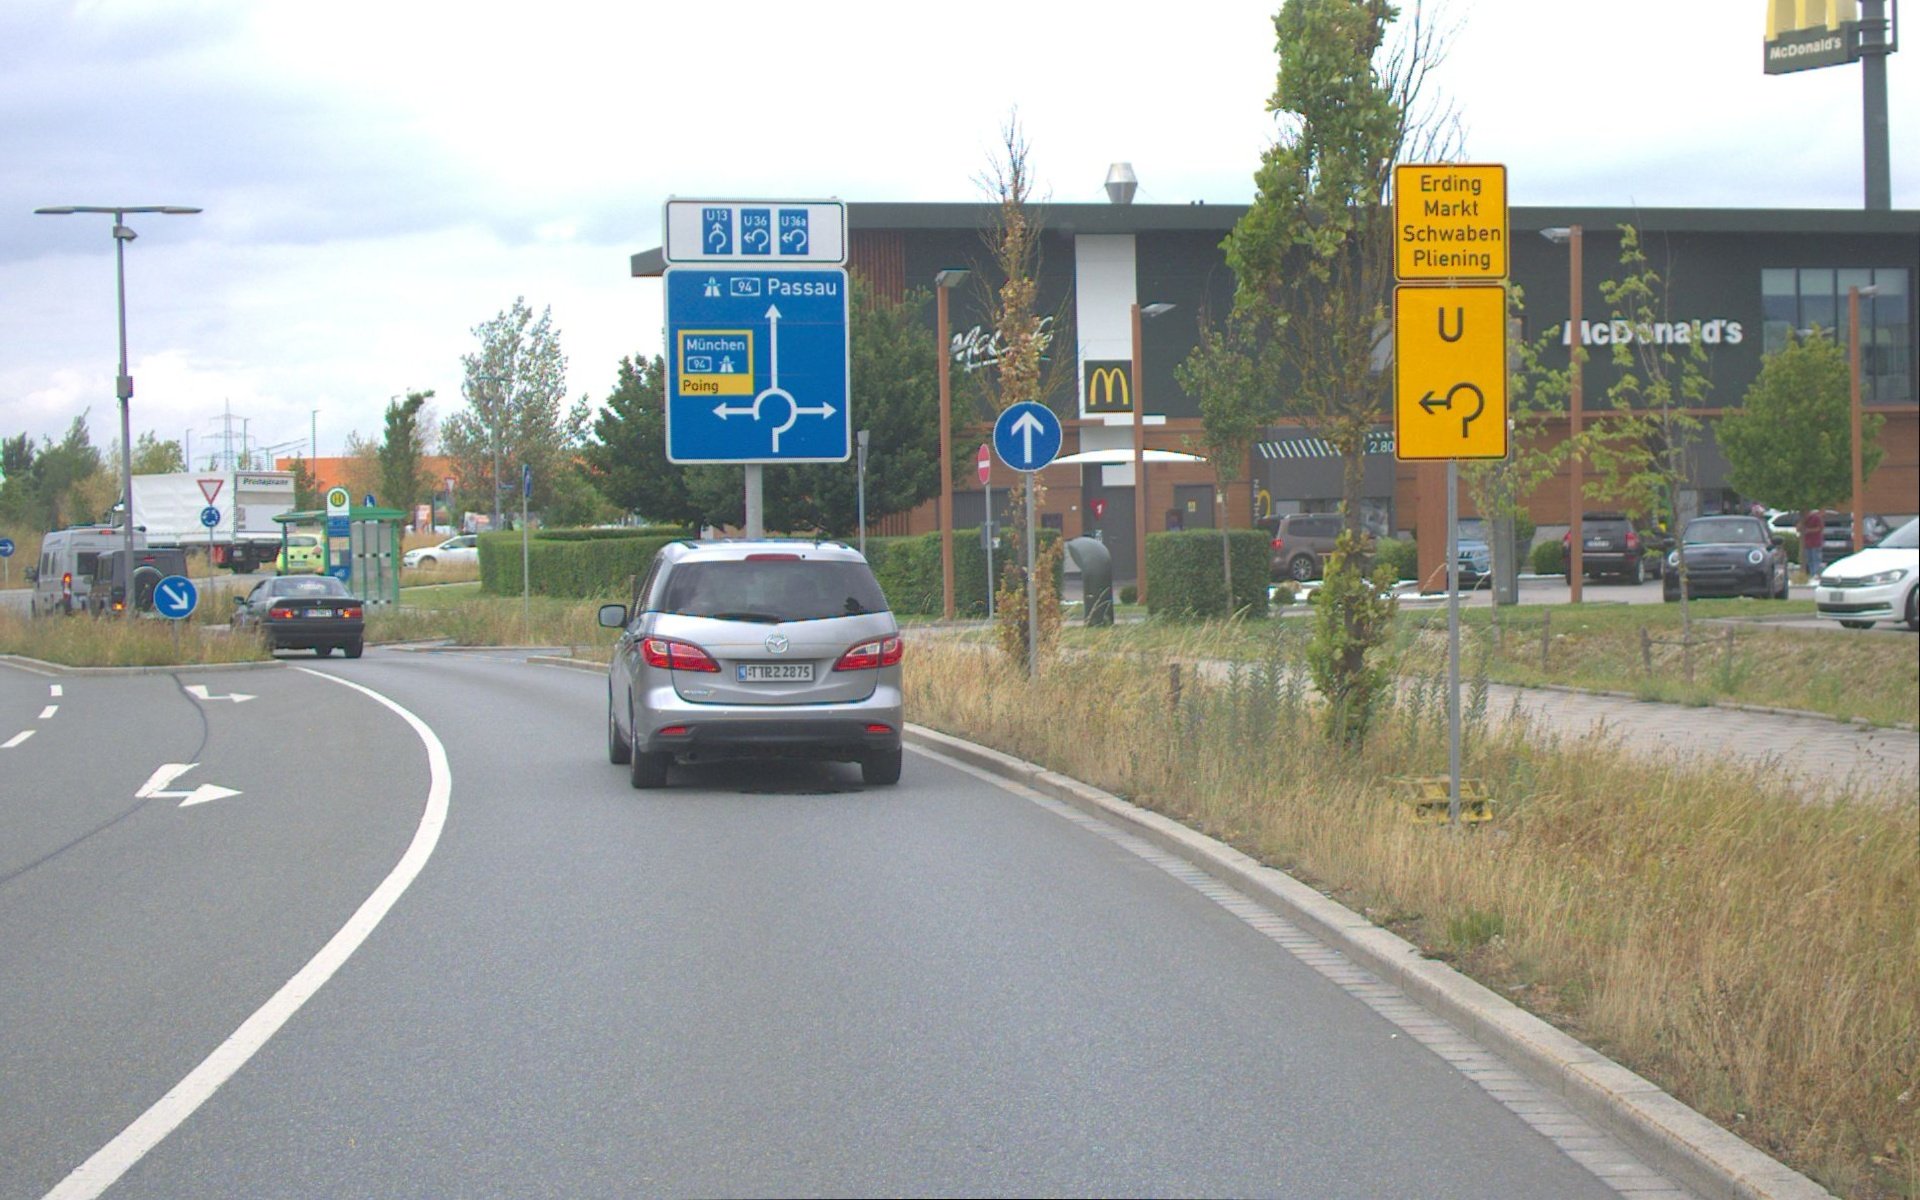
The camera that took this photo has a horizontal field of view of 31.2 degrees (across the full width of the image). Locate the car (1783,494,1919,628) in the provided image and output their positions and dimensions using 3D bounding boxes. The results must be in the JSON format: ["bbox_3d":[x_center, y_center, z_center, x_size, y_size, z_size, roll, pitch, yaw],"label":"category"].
[{"bbox_3d":[13.022,-0.558,44.241,4.346,1.634,1.938,-2,2,-20],"label":"car"}]

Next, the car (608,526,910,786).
[{"bbox_3d":[-1.428,0.310,23.072,1.729,1.594,3.808,0,1,-8],"label":"car"}]

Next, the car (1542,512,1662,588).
[{"bbox_3d":[14.996,-1.169,80.157,2.118,1.711,4.226,0,1,19],"label":"car"}]

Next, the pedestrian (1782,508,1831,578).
[{"bbox_3d":[17.565,-1.176,71.359,0.770,1.434,0.622,0,1,38],"label":"pedestrian"}]

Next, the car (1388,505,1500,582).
[{"bbox_3d":[11.078,-1.295,78.502,1.995,1.711,3.997,0,1,16],"label":"car"}]

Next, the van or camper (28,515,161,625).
[{"bbox_3d":[-20.649,-0.730,81.846,2.302,2.497,5.207,-1,1,-23],"label":"van or camper"}]

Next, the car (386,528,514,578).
[{"bbox_3d":[-19.042,-1.754,128.253,4.601,1.751,2.001,-1,1,-11],"label":"car"}]

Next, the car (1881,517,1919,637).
[{"bbox_3d":[13.738,-0.336,41.824,4.466,1.431,2.074,-2,2,-17],"label":"car"}]

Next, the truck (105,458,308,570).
[{"bbox_3d":[-27.754,-3.108,126.347,3.134,3.893,9.331,-2,1,-41],"label":"truck"}]

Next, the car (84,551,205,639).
[{"bbox_3d":[-17.731,-0.130,74.630,2.058,1.819,4.787,-1,1,-19],"label":"car"}]

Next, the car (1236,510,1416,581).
[{"bbox_3d":[9.110,-1.355,85.641,3.986,1.711,2.001,-1,1,-21],"label":"car"}]

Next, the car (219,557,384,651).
[{"bbox_3d":[-10.781,0.030,56.062,1.844,1.413,4.226,-2,2,-22],"label":"car"}]

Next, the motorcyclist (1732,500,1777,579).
[{"bbox_3d":[18.549,-1.416,80.271,0.962,1.826,0.845,0,1,17],"label":"motorcyclist"}]

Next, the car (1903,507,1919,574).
[{"bbox_3d":[24.029,-1.456,83.019,1.994,1.576,3.999,0,1,9],"label":"car"}]

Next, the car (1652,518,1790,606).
[{"bbox_3d":[12.311,-0.635,55.497,1.813,1.308,3.846,-1,2,18],"label":"car"}]

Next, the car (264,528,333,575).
[{"bbox_3d":[-22.264,-1.645,115.842,1.993,1.510,4.001,-1,1,-7],"label":"car"}]
